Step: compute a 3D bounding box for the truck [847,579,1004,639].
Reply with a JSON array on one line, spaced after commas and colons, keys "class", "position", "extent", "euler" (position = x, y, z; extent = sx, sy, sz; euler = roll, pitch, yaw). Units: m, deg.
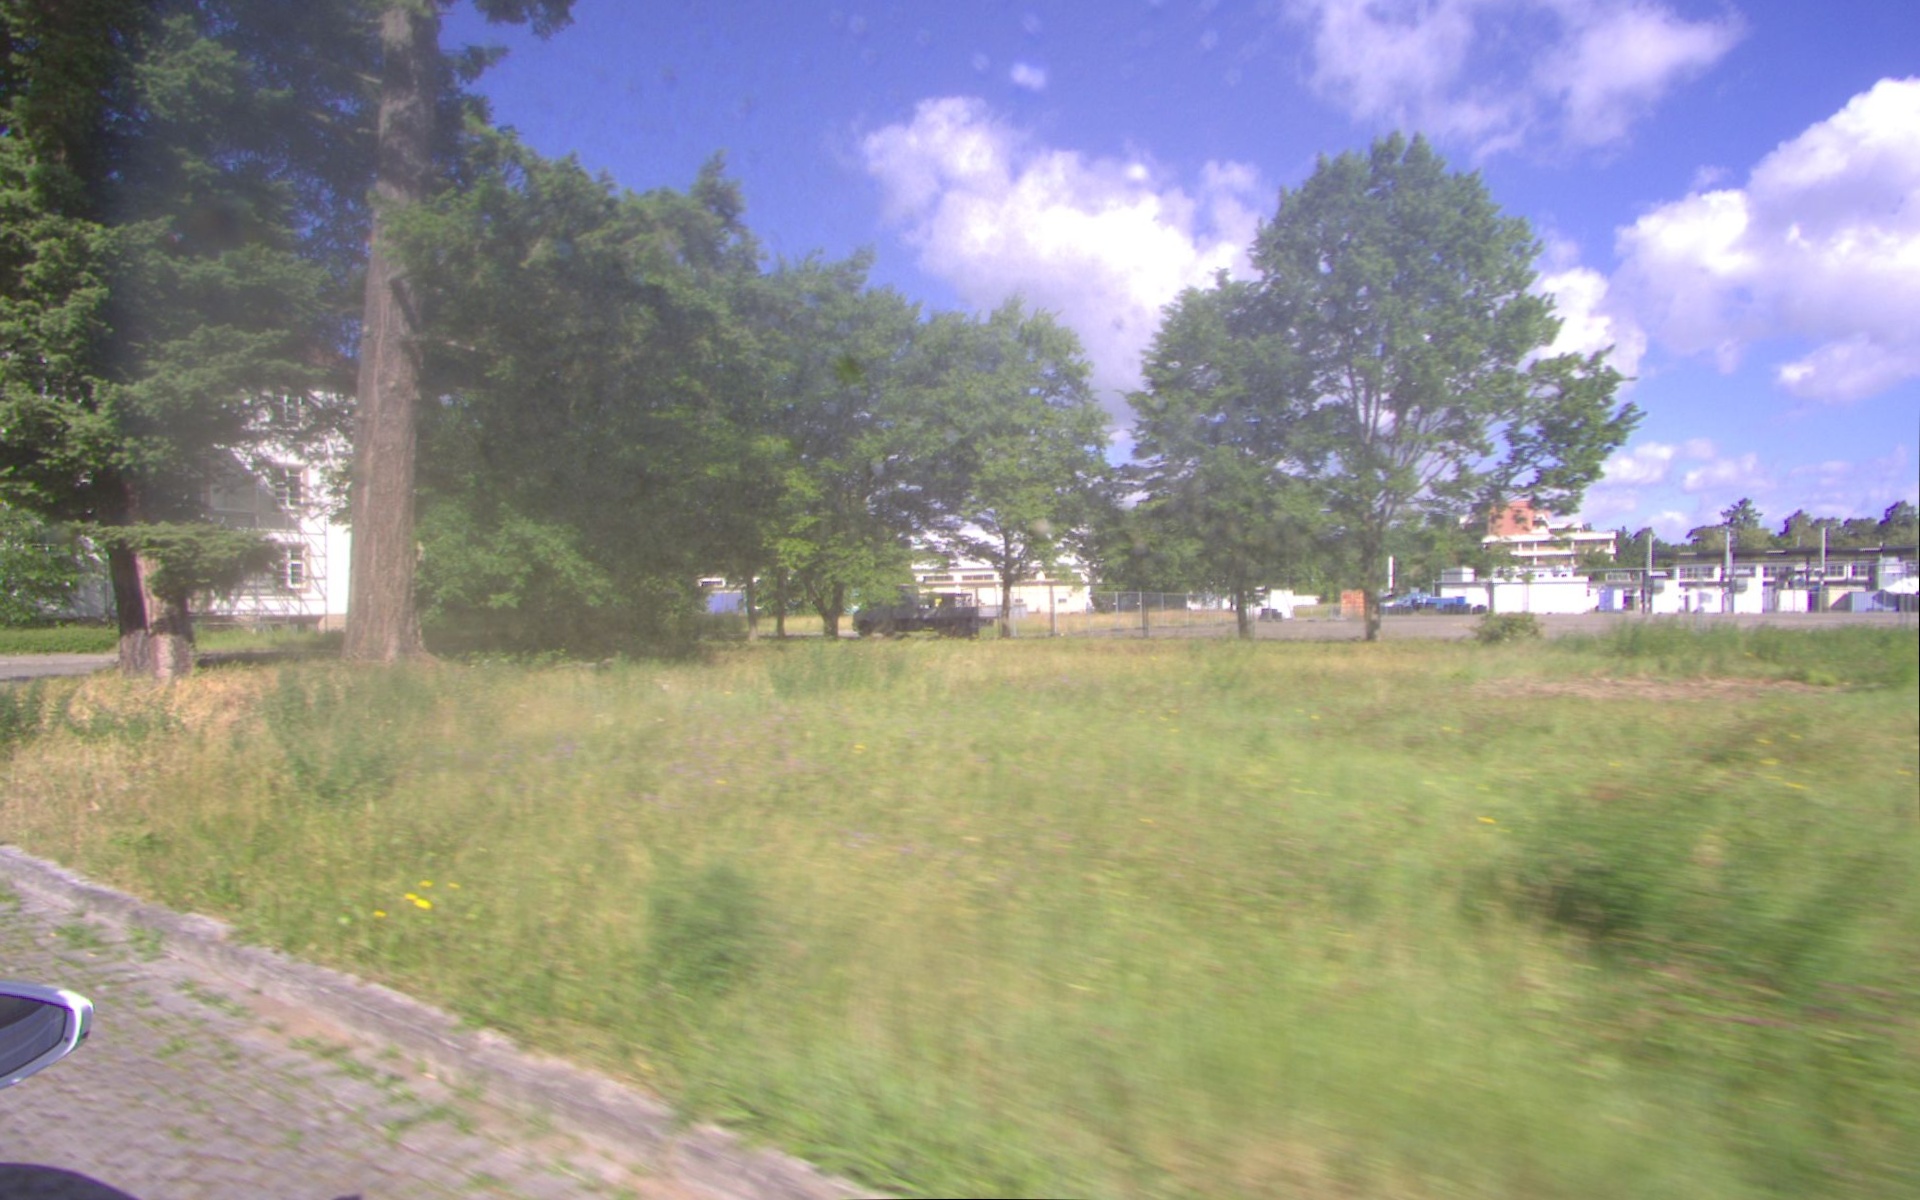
[{"class": "truck", "position": [-1.587, 0.432, 43.622], "extent": [6.788, 2.455, 2.229], "euler": [0, -1, 33]}]
